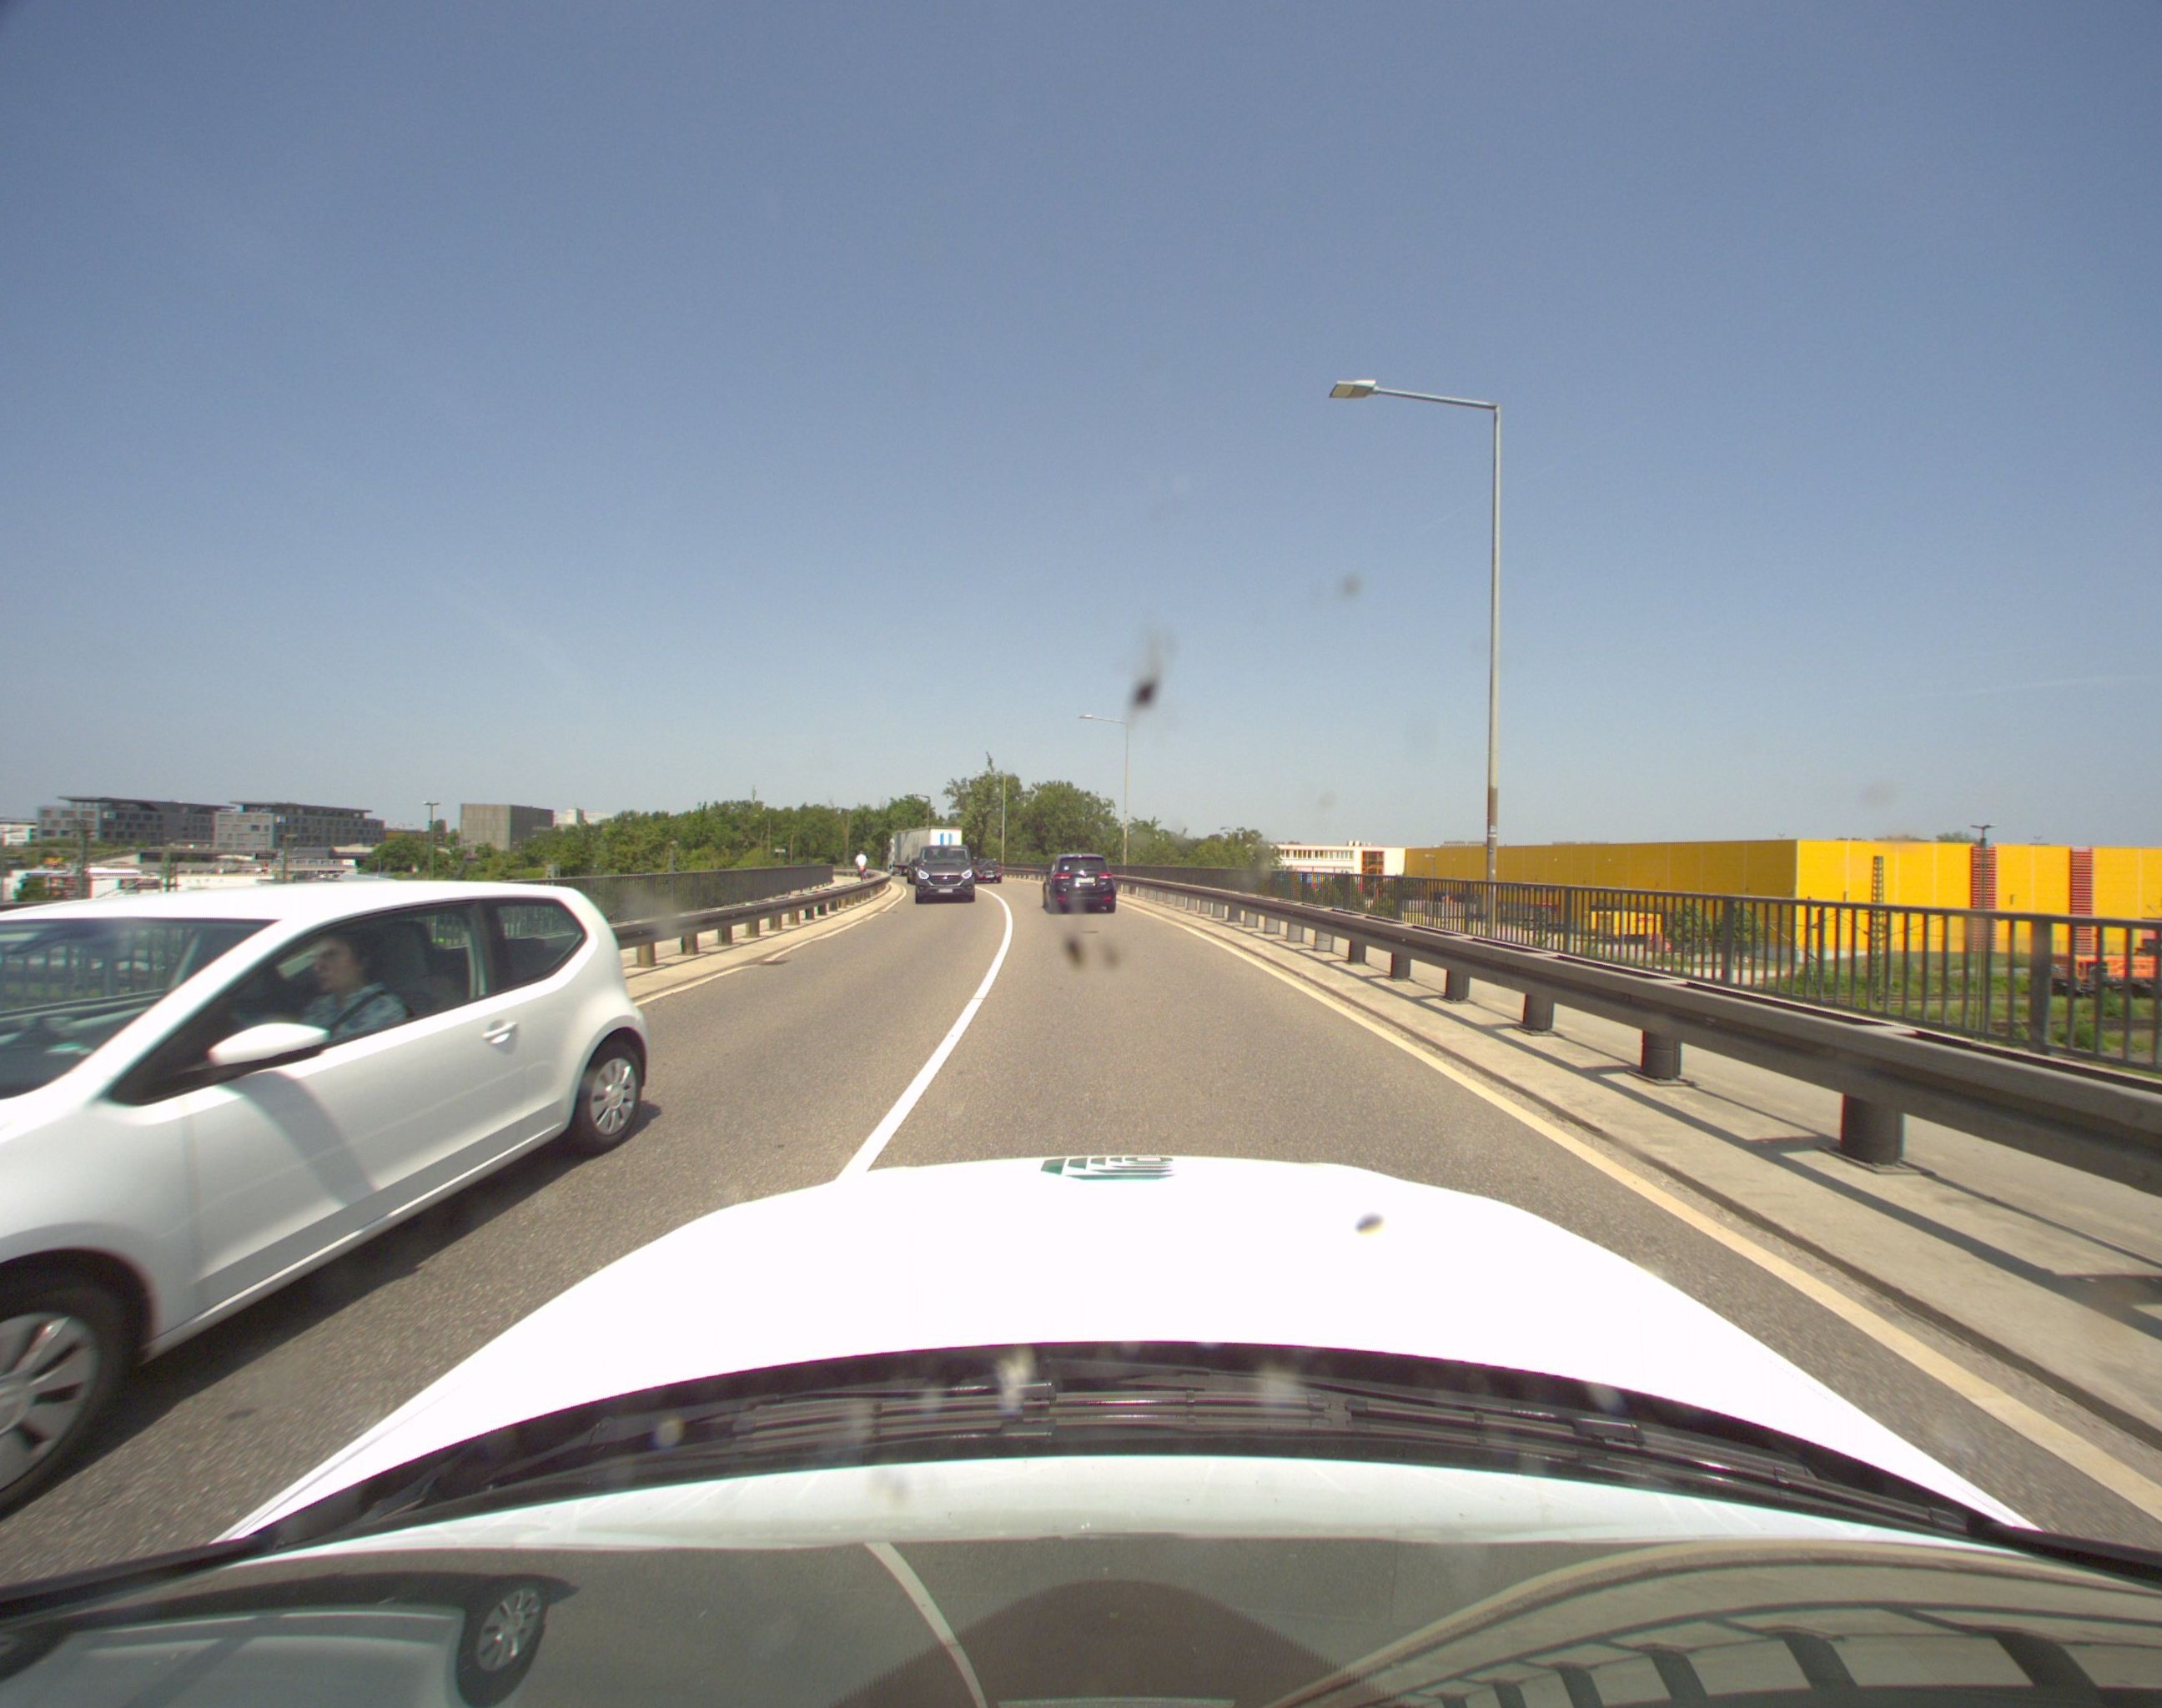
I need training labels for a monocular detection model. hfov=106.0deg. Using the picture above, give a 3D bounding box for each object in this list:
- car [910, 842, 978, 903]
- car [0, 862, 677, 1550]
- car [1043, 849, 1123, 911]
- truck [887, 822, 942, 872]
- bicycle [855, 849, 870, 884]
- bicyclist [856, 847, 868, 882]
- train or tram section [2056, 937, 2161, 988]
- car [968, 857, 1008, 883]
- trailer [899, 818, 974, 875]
[{"bbox_3d":[-5.005,0.636,29.130,2.010,1.959,5.245,-1,-1,-14],"label":"car"},{"bbox_3d":[-3.253,0.803,3.155,1.659,1.464,3.485,0,1,-1],"label":"car"},{"bbox_3d":[-0.039,0.647,22.790,1.918,1.574,3.885,0,1,-5],"label":"car"},{"bbox_3d":[-15.541,-0.667,75.680,3.590,4.440,6.462,-1,0,-25],"label":"truck"},{"bbox_3d":[-11.861,0.659,44.148,0.700,1.801,2.168,0,0,-17],"label":"bicycle"},{"bbox_3d":[-11.935,0.581,44.373,0.626,1.886,0.708,0,0,-18],"label":"bicyclist"},{"bbox_3d":[88.005,9.050,67.284,13.945,3.689,2.234,2,0,-7],"label":"train or tram section"},{"bbox_3d":[-5.509,0.903,48.026,2.013,1.429,3.761,0,1,-12],"label":"car"},{"bbox_3d":[-12.413,-0.651,68.761,3.586,4.384,11.349,-1,1,-24],"label":"trailer"}]
